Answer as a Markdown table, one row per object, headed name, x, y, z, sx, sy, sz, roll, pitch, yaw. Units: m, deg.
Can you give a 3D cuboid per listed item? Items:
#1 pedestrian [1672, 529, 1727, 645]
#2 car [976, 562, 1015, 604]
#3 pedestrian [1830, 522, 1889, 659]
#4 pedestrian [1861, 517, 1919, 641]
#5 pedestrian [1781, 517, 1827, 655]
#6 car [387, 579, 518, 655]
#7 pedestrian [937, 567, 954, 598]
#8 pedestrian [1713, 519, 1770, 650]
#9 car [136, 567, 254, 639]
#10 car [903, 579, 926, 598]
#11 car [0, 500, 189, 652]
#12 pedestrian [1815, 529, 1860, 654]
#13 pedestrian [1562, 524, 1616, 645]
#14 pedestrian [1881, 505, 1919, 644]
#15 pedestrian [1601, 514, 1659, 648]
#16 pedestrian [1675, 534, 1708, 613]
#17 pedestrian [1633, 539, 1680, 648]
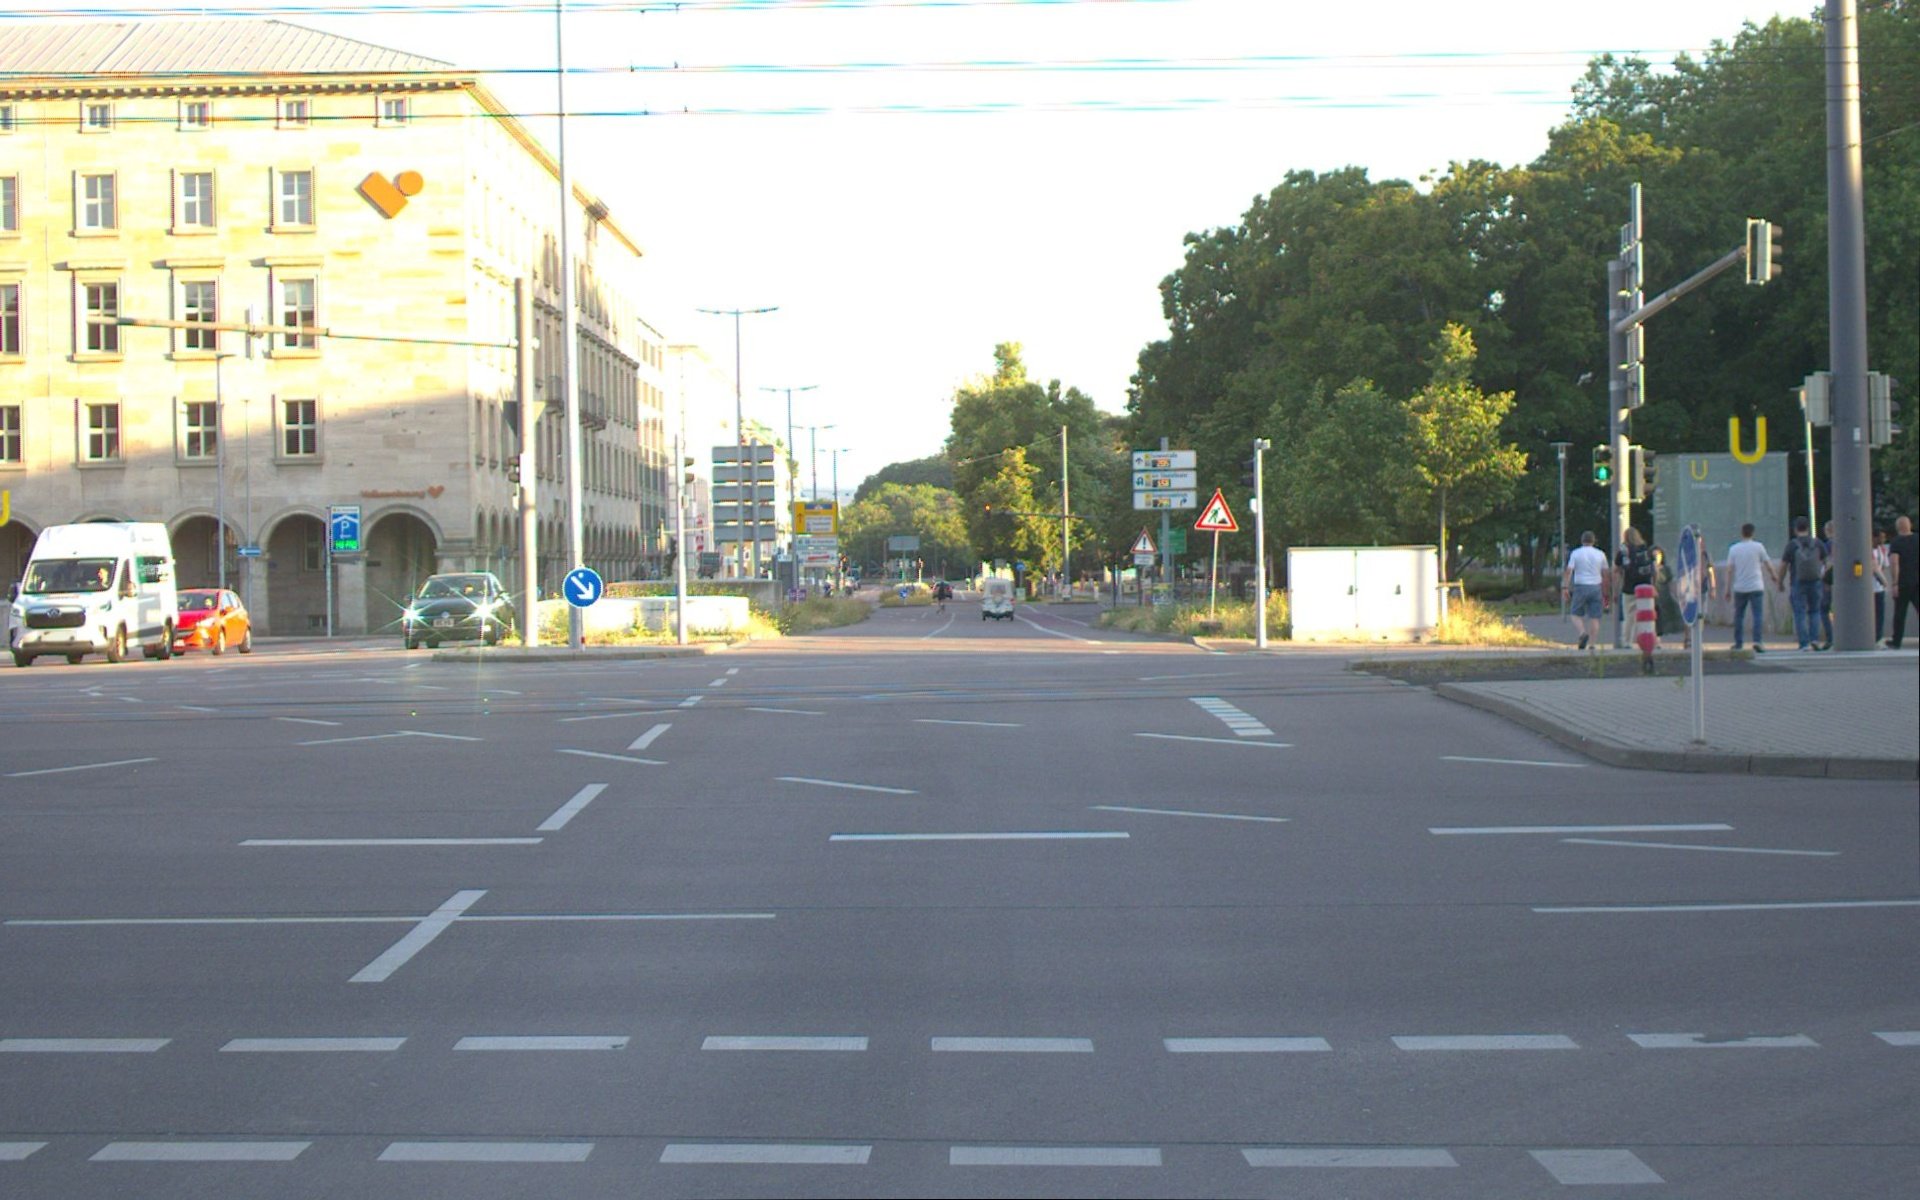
| name | x | y | z | sx | sy | sz | roll | pitch | yaw |
| --- | --- | --- | --- | --- | --- | --- | --- | --- | --- |
| pedestrian | 11.263 | -0.201 | 52.372 | 0.680 | 1.751 | 0.901 | 0 | 1 | 20 |
| car | 1.479 | -0.714 | 143.654 | 1.483 | 1.690 | 2.974 | -1 | 1 | -2 |
| pedestrian | 11.430 | -0.126 | 43.674 | 0.703 | 1.728 | 0.847 | 0 | 1 | 16 |
| pedestrian | 13.557 | -0.312 | 49.905 | 0.805 | 1.785 | 0.800 | -1 | 1 | 8 |
| pedestrian | 11.076 | -0.189 | 45.108 | 0.572 | 1.785 | 0.638 | 0 | 1 | 14 |
| car | -9.753 | 0.308 | 66.308 | 1.823 | 1.337 | 4.000 | -1 | 1 | 2 |
| pedestrian | -0.800 | -0.971 | 188.355 | 0.906 | 1.665 | 1.307 | -1 | 1 | -1 |
| pedestrian | 10.425 | -0.212 | 45.864 | 0.711 | 1.719 | 0.914 | 0 | 1 | 12 |
| car | -16.655 | 0.047 | 75.010 | 1.738 | 1.482 | 4.000 | -1 | 1 | -1 |
| car | -3.019 | -0.767 | 228.481 | 1.370 | 1.230 | 3.045 | -1 | 1 | 1 |
| car | -16.754 | -0.476 | 66.270 | 2.279 | 2.766 | 6.083 | -1 | 1 | 1 |
| pedestrian | 11.925 | -0.119 | 46.745 | 0.572 | 1.673 | 0.638 | 0 | 1 | 14 |
| pedestrian | 9.010 | -0.225 | 49.217 | 0.711 | 1.719 | 0.668 | 0 | 1 | 13 |
| pedestrian | 12.419 | -0.337 | 44.596 | 0.805 | 1.785 | 0.800 | -1 | 1 | 7 |
| pedestrian | 8.719 | -0.250 | 44.782 | 0.711 | 1.719 | 0.914 | -1 | 1 | 10 |
| pedestrian | 17.239 | -0.629 | 80.996 | 0.666 | 1.836 | 0.713 | -1 | 1 | 5 |
| pedestrian | 10.661 | -0.100 | 52.593 | 0.560 | 1.649 | 0.901 | 0 | 1 | 20 |
